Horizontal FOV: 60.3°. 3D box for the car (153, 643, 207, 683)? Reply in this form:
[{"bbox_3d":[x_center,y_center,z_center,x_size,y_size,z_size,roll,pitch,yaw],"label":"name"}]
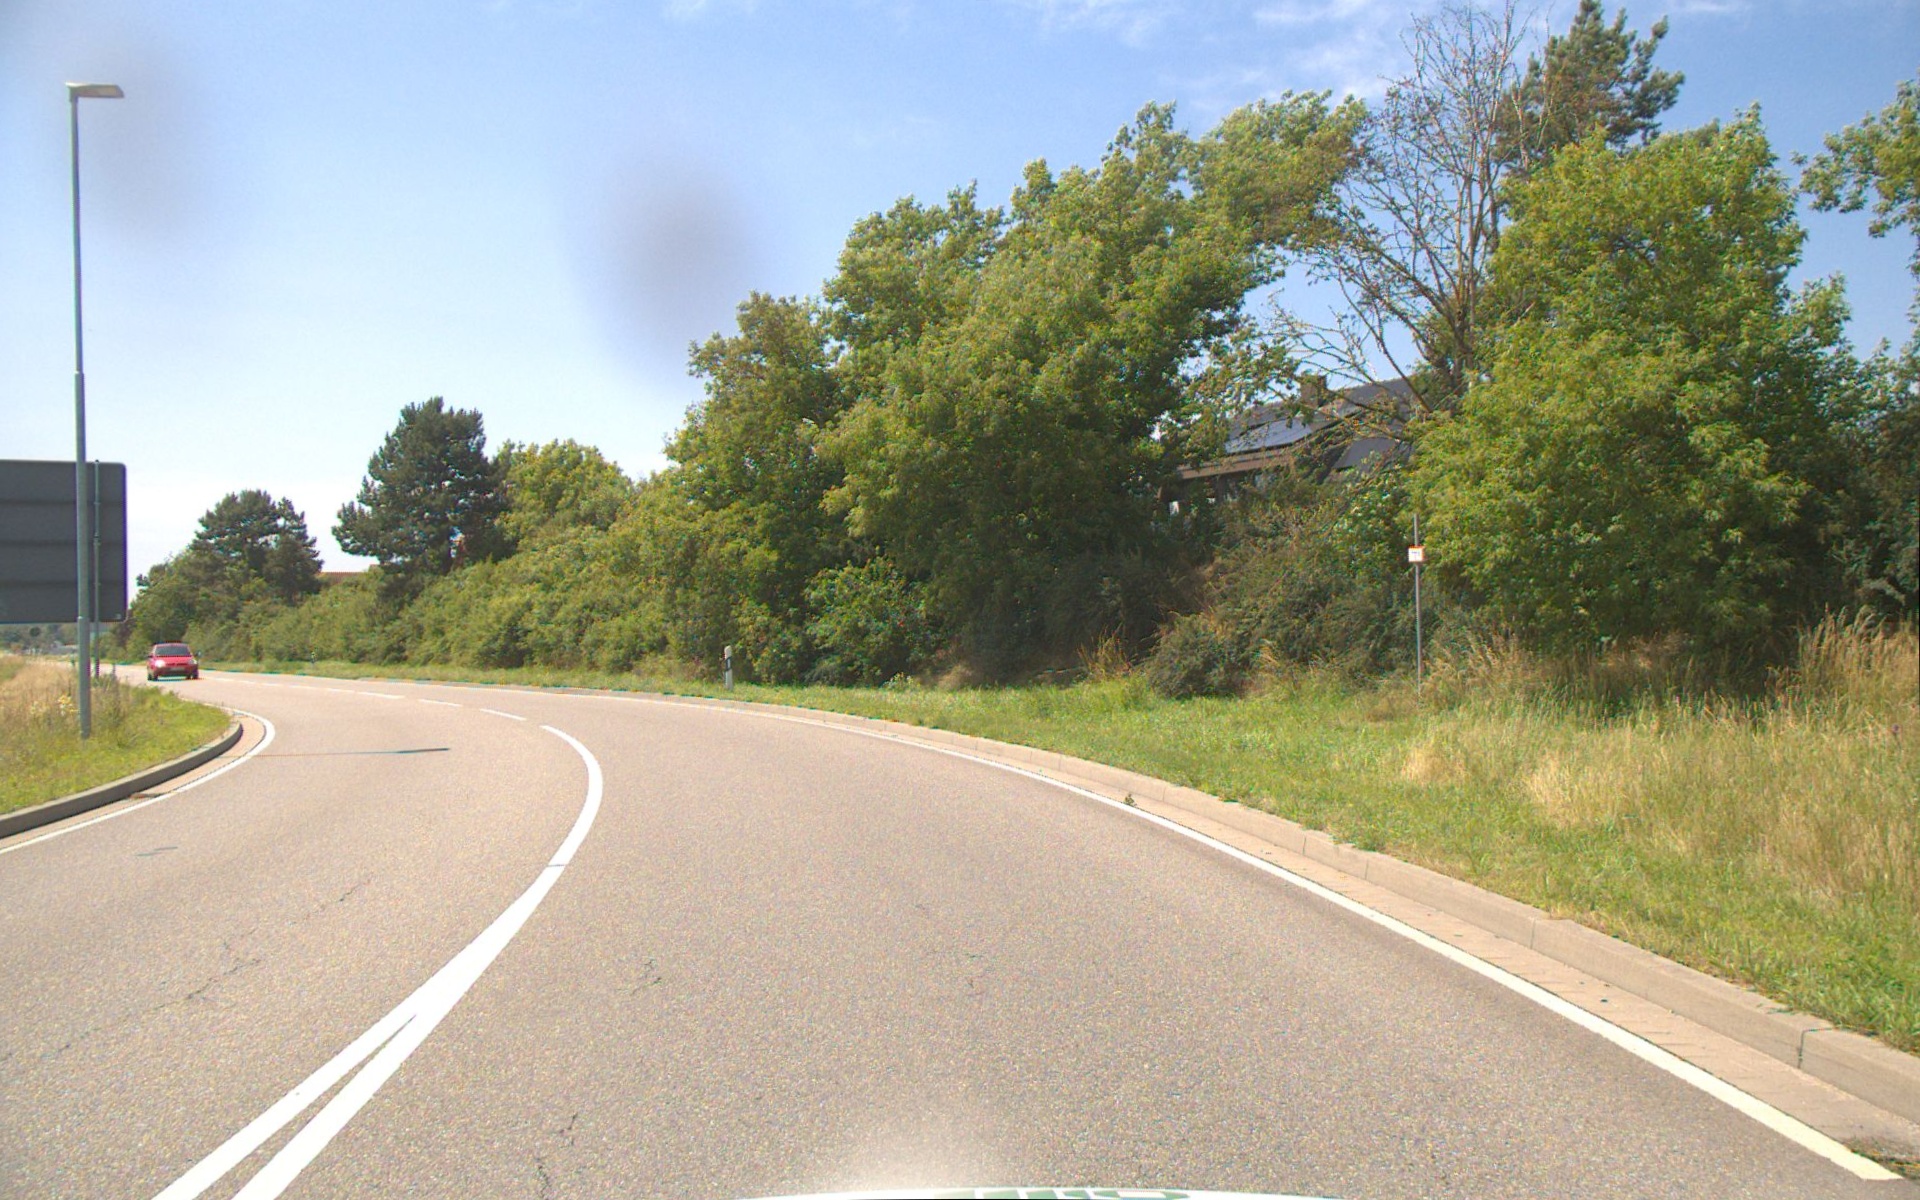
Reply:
[{"bbox_3d":[-31.529,2.531,66.815,1.638,1.458,3.697,-2,-1,-30],"label":"car"}]
